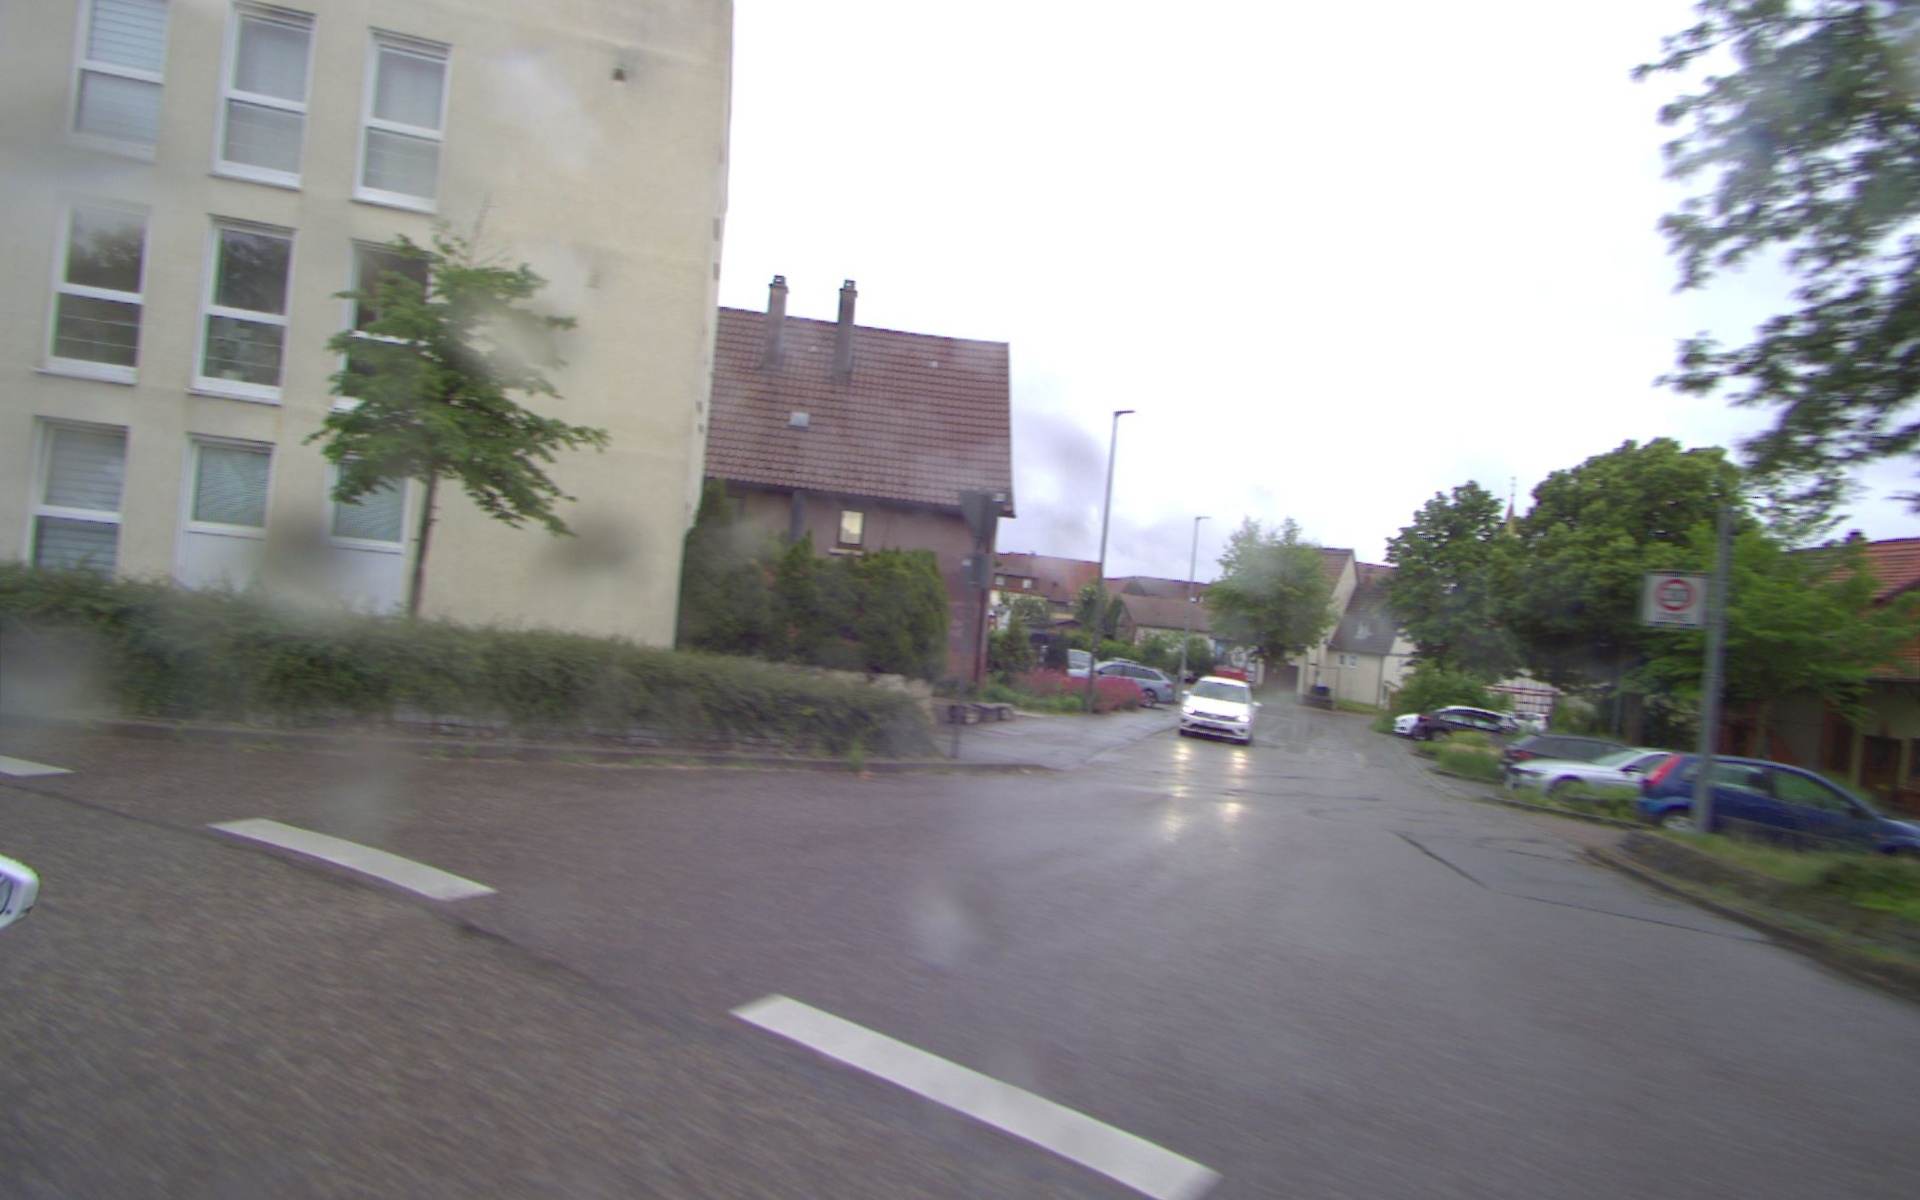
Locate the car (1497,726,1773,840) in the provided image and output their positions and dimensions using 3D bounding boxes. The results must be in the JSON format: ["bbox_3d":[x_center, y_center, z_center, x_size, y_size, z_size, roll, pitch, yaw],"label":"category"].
[{"bbox_3d":[12.678,3.416,19.154,3.924,1.406,1.626,6,-2,15],"label":"car"}]

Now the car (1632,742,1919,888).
[{"bbox_3d":[12.038,3.052,14.546,3.678,1.406,1.619,5,-2,38],"label":"car"}]

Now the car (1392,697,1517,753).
[{"bbox_3d":[20.637,5.199,42.225,4.401,1.570,2.001,7,-2,22],"label":"car"}]

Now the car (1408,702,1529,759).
[{"bbox_3d":[19.978,5.092,39.732,3.926,1.570,2.001,7,-2,22],"label":"car"}]

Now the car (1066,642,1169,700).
[{"bbox_3d":[6.762,3.053,43.586,3.928,1.903,1.840,8,-1,-3],"label":"car"}]

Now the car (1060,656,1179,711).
[{"bbox_3d":[5.961,3.117,37.907,3.930,1.473,1.946,8,-2,-6],"label":"car"}]

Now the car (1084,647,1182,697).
[{"bbox_3d":[8.000,3.330,46.727,3.929,1.716,2.000,8,-1,-5],"label":"car"}]

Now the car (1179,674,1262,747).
[{"bbox_3d":[6.912,2.830,26.409,1.724,1.553,4.154,6,-2,18],"label":"car"}]

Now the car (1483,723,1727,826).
[{"bbox_3d":[13.740,3.697,21.699,3.924,1.392,1.882,7,-2,16],"label":"car"}]
